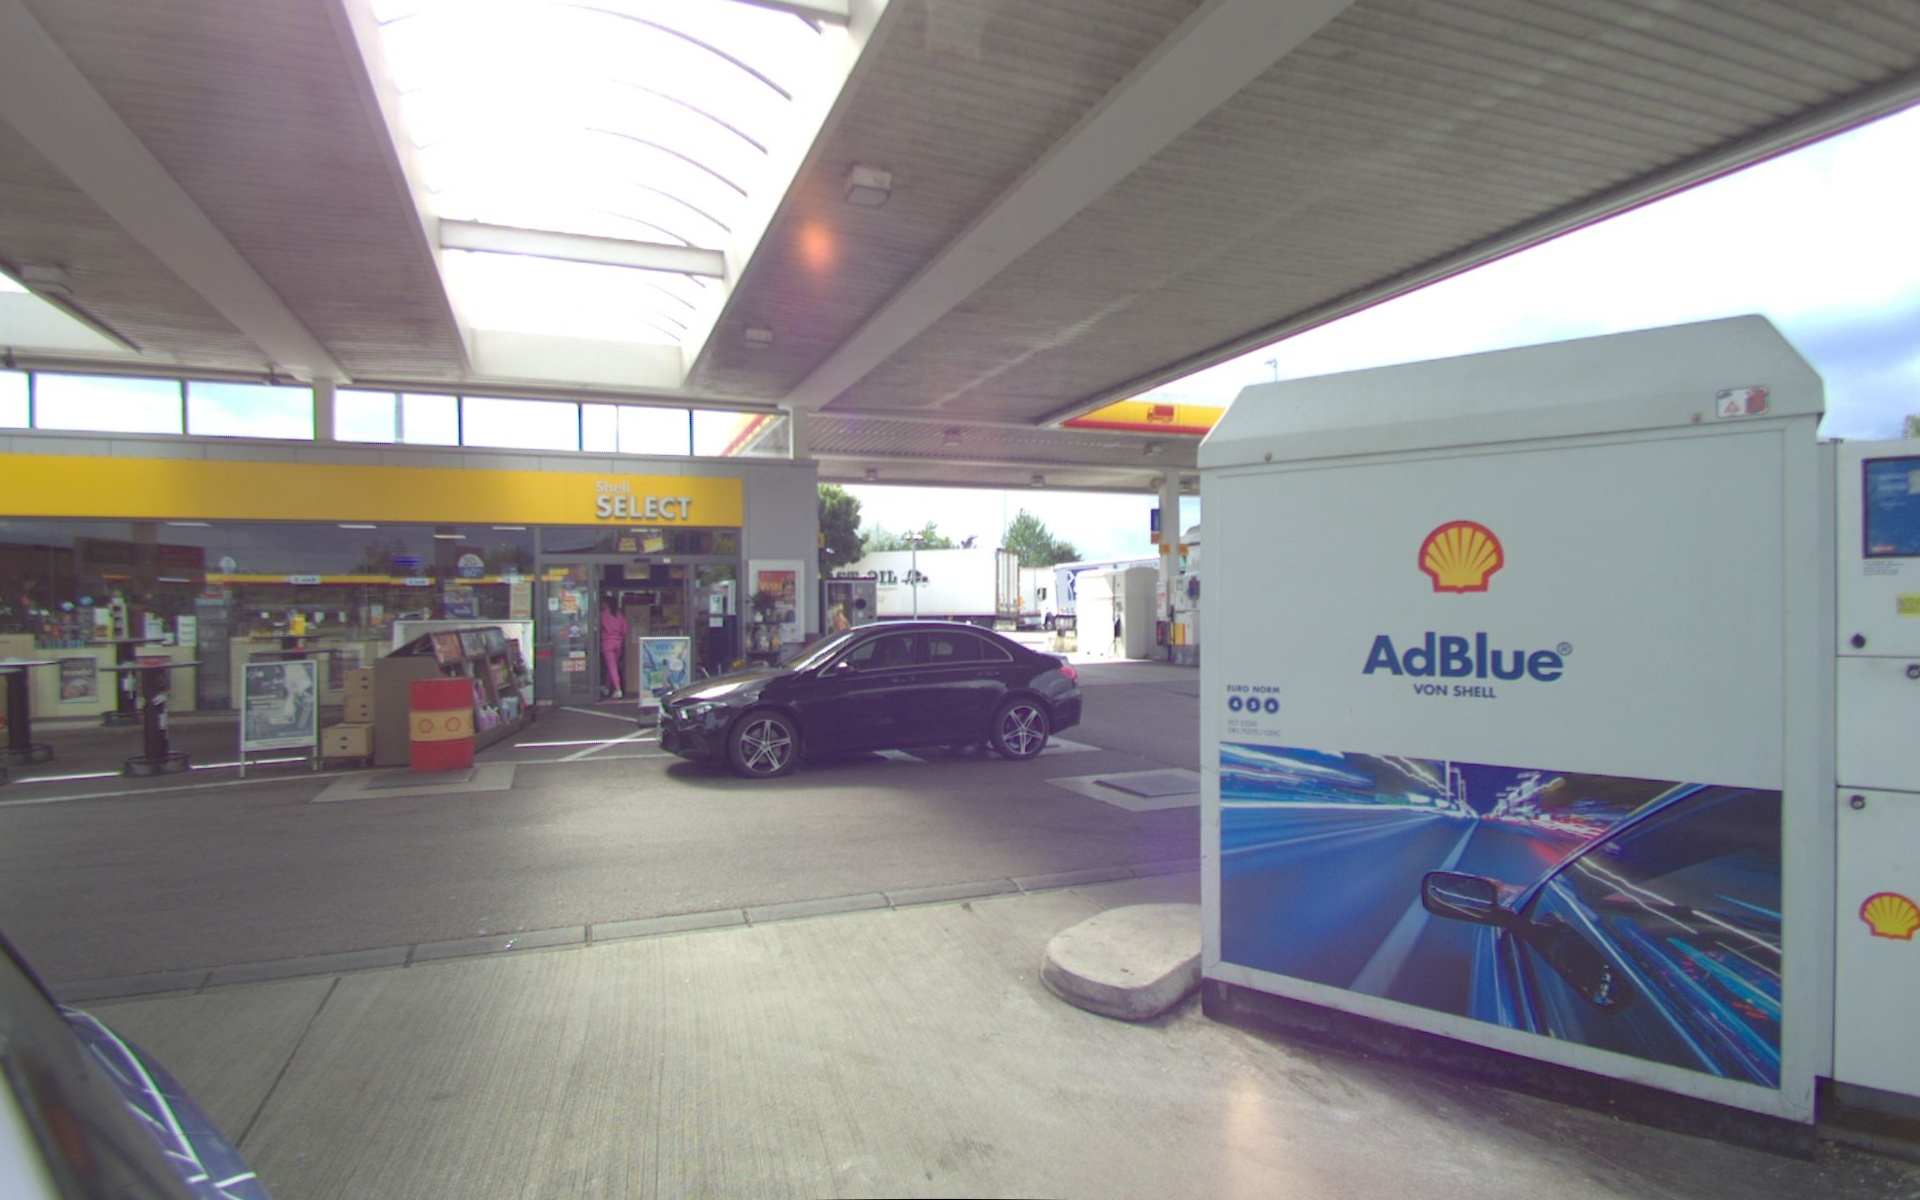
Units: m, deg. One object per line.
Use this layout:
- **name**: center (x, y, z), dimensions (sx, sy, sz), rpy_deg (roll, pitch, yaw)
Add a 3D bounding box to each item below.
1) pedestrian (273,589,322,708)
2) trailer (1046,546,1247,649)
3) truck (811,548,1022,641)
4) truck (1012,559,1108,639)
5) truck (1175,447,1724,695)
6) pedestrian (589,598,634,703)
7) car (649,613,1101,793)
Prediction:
- **pedestrian**: center (-10.917, 0.785, 16.670), dimensions (0.572, 1.920, 0.509), rpy_deg (-1, 0, -44)
- **trailer**: center (9.108, -0.107, 52.667), dimensions (3.294, 4.600, 14.397), rpy_deg (-1, 0, -20)
- **truck**: center (-2.099, -0.186, 46.833), dimensions (9.536, 4.036, 2.772), rpy_deg (-1, 0, 25)
- **truck**: center (5.931, -0.057, 61.215), dimensions (3.333, 4.538, 6.249), rpy_deg (-1, 0, -20)
- **truck**: center (9.661, -0.469, 23.095), dimensions (2.491, 4.069, 12.947), rpy_deg (-1, 0, -22)
- **pedestrian**: center (-5.884, 0.831, 17.075), dimensions (0.616, 1.726, 0.625), rpy_deg (-1, 0, -26)
- **car**: center (-0.899, 0.939, 10.645), dimensions (4.394, 1.511, 1.785), rpy_deg (-1, 0, -21)
